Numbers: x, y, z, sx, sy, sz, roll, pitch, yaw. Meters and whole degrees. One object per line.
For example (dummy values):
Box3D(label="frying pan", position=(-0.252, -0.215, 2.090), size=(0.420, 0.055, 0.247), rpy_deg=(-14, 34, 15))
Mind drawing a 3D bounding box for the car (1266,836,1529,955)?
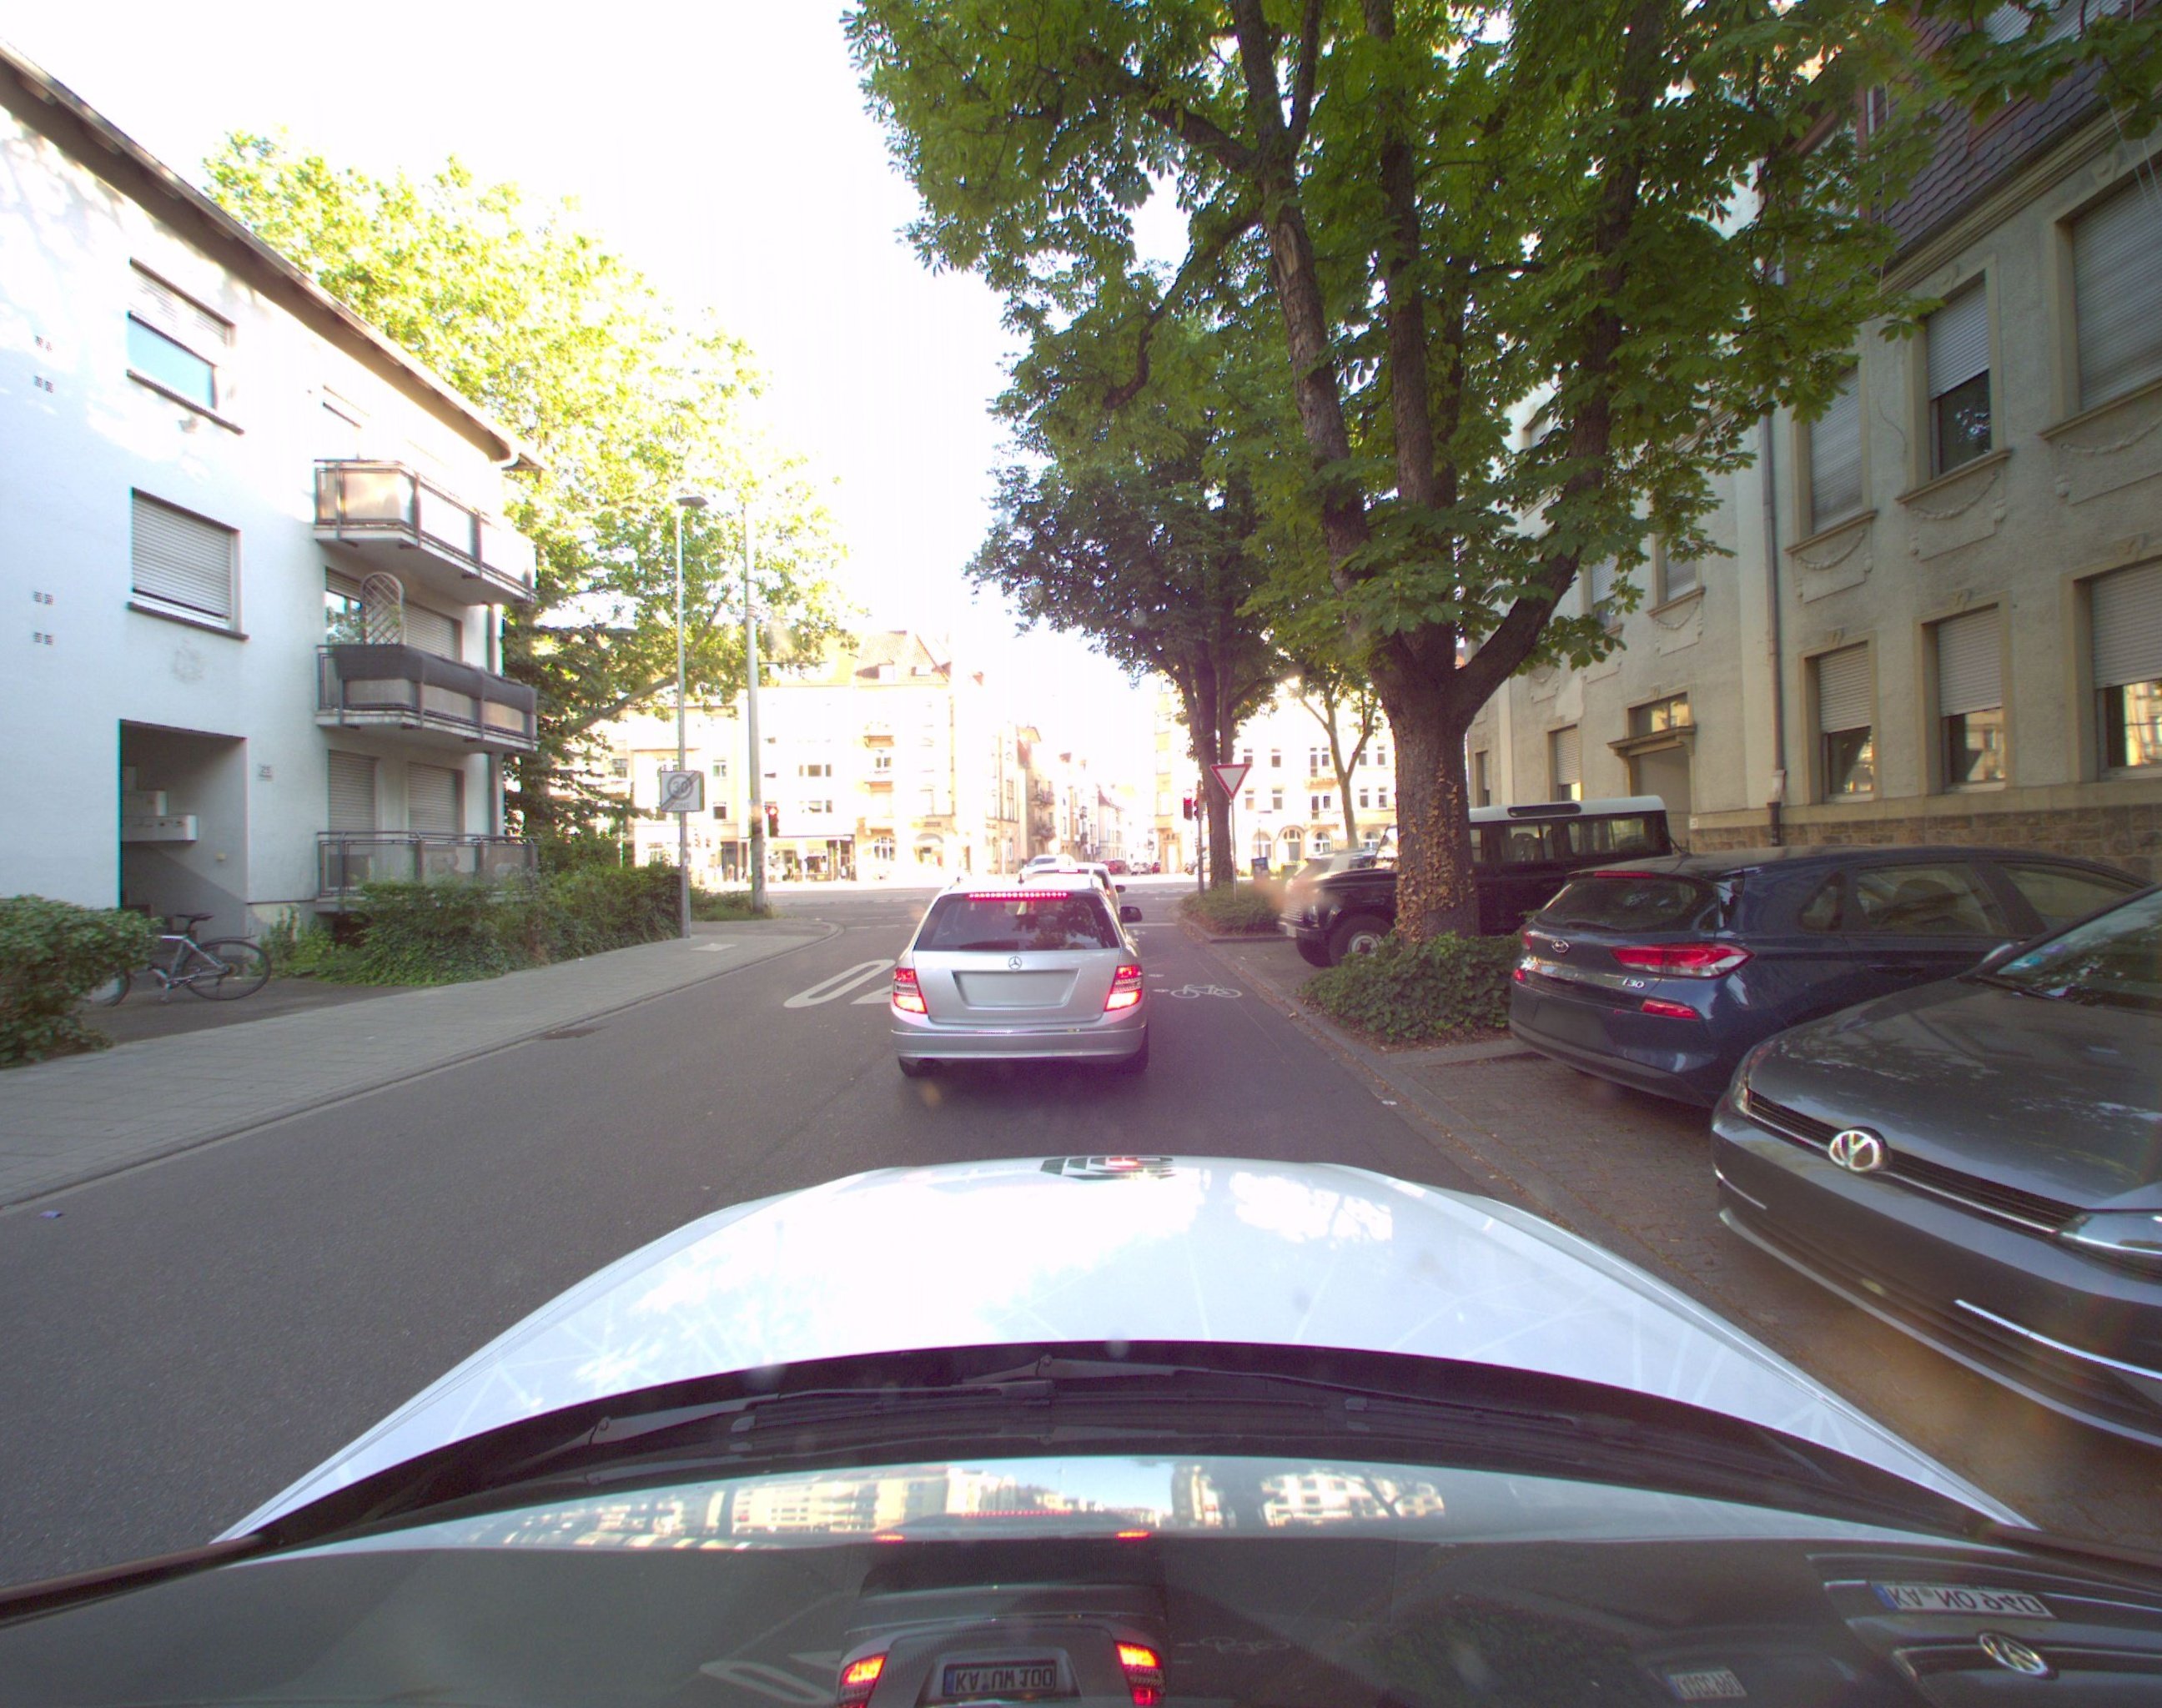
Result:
Box3D(label="car", position=(4.924, 0.613, 12.979), size=(3.475, 1.586, 1.708), rpy_deg=(-3, 0, -5))

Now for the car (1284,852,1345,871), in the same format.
Box3D(label="car", position=(14.204, 0.468, 49.644), size=(3.352, 1.069, 1.380), rpy_deg=(-2, 0, 0))

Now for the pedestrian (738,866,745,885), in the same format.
Box3D(label="pedestrian", position=(-27.056, 1.725, 64.890), size=(0.474, 1.511, 0.428), rpy_deg=(-1, 0, -18))

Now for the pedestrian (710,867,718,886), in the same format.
Box3D(label="pedestrian", position=(-29.363, 1.786, 65.174), size=(0.511, 1.511, 0.532), rpy_deg=(-1, 0, -26))

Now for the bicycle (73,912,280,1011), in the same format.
Box3D(label="bicycle", position=(-10.008, 1.158, 9.083), size=(1.469, 0.975, 0.402), rpy_deg=(2, -2, -38))

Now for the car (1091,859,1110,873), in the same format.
Box3D(label="car", position=(2.524, 1.533, 102.553), size=(1.639, 1.783, 3.876), rpy_deg=(-1, -1, 13))

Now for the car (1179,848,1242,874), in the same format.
Box3D(label="car", position=(8.100, 0.405, 50.987), size=(3.581, 1.501, 1.615), rpy_deg=(-2, 1, -11))

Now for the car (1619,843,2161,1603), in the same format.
Box3D(label="car", position=(4.096, 0.661, 2.307), size=(4.037, 1.422, 1.627), rpy_deg=(-3, -1, -2))

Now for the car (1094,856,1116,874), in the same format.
Box3D(label="car", position=(2.744, 1.283, 93.476), size=(1.926, 1.958, 4.161), rpy_deg=(-2, 0, 10))

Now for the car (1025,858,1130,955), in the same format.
Box3D(label="car", position=(-0.042, 0.787, 13.819), size=(1.528, 1.391, 3.599), rpy_deg=(-1, 0, 0))

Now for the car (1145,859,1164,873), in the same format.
Box3D(label="car", position=(9.219, 1.456, 102.033), size=(1.709, 1.478, 4.016), rpy_deg=(-6, -1, 14))

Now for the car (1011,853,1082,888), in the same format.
Box3D(label="car", position=(-1.566, 0.740, 38.792), size=(1.766, 1.461, 4.322), rpy_deg=(-1, 1, 21))

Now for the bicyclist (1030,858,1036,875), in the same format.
Box3D(label="bicyclist", position=(-4.324, 1.088, 73.763), size=(0.465, 1.514, 0.655), rpy_deg=(-1, 0, -2))

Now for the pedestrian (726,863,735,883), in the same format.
Box3D(label="pedestrian", position=(-27.482, 1.507, 63.816), size=(0.566, 1.511, 0.499), rpy_deg=(-1, 0, -17))

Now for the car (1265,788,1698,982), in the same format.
Box3D(label="car", position=(4.789, 0.350, 10.195), size=(4.478, 1.956, 1.792), rpy_deg=(-3, 0, -1))

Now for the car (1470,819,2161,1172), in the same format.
Box3D(label="car", position=(4.440, 0.613, 4.509), size=(3.739, 1.422, 1.627), rpy_deg=(-3, -1, -2))

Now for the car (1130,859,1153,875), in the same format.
Box3D(label="car", position=(6.410, 1.321, 85.926), size=(1.708, 1.478, 4.016), rpy_deg=(-3, 0, 14))

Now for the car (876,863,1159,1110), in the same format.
Box3D(label="car", position=(-0.396, 0.809, 6.624), size=(1.685, 1.429, 3.491), rpy_deg=(0, 0, -1))
